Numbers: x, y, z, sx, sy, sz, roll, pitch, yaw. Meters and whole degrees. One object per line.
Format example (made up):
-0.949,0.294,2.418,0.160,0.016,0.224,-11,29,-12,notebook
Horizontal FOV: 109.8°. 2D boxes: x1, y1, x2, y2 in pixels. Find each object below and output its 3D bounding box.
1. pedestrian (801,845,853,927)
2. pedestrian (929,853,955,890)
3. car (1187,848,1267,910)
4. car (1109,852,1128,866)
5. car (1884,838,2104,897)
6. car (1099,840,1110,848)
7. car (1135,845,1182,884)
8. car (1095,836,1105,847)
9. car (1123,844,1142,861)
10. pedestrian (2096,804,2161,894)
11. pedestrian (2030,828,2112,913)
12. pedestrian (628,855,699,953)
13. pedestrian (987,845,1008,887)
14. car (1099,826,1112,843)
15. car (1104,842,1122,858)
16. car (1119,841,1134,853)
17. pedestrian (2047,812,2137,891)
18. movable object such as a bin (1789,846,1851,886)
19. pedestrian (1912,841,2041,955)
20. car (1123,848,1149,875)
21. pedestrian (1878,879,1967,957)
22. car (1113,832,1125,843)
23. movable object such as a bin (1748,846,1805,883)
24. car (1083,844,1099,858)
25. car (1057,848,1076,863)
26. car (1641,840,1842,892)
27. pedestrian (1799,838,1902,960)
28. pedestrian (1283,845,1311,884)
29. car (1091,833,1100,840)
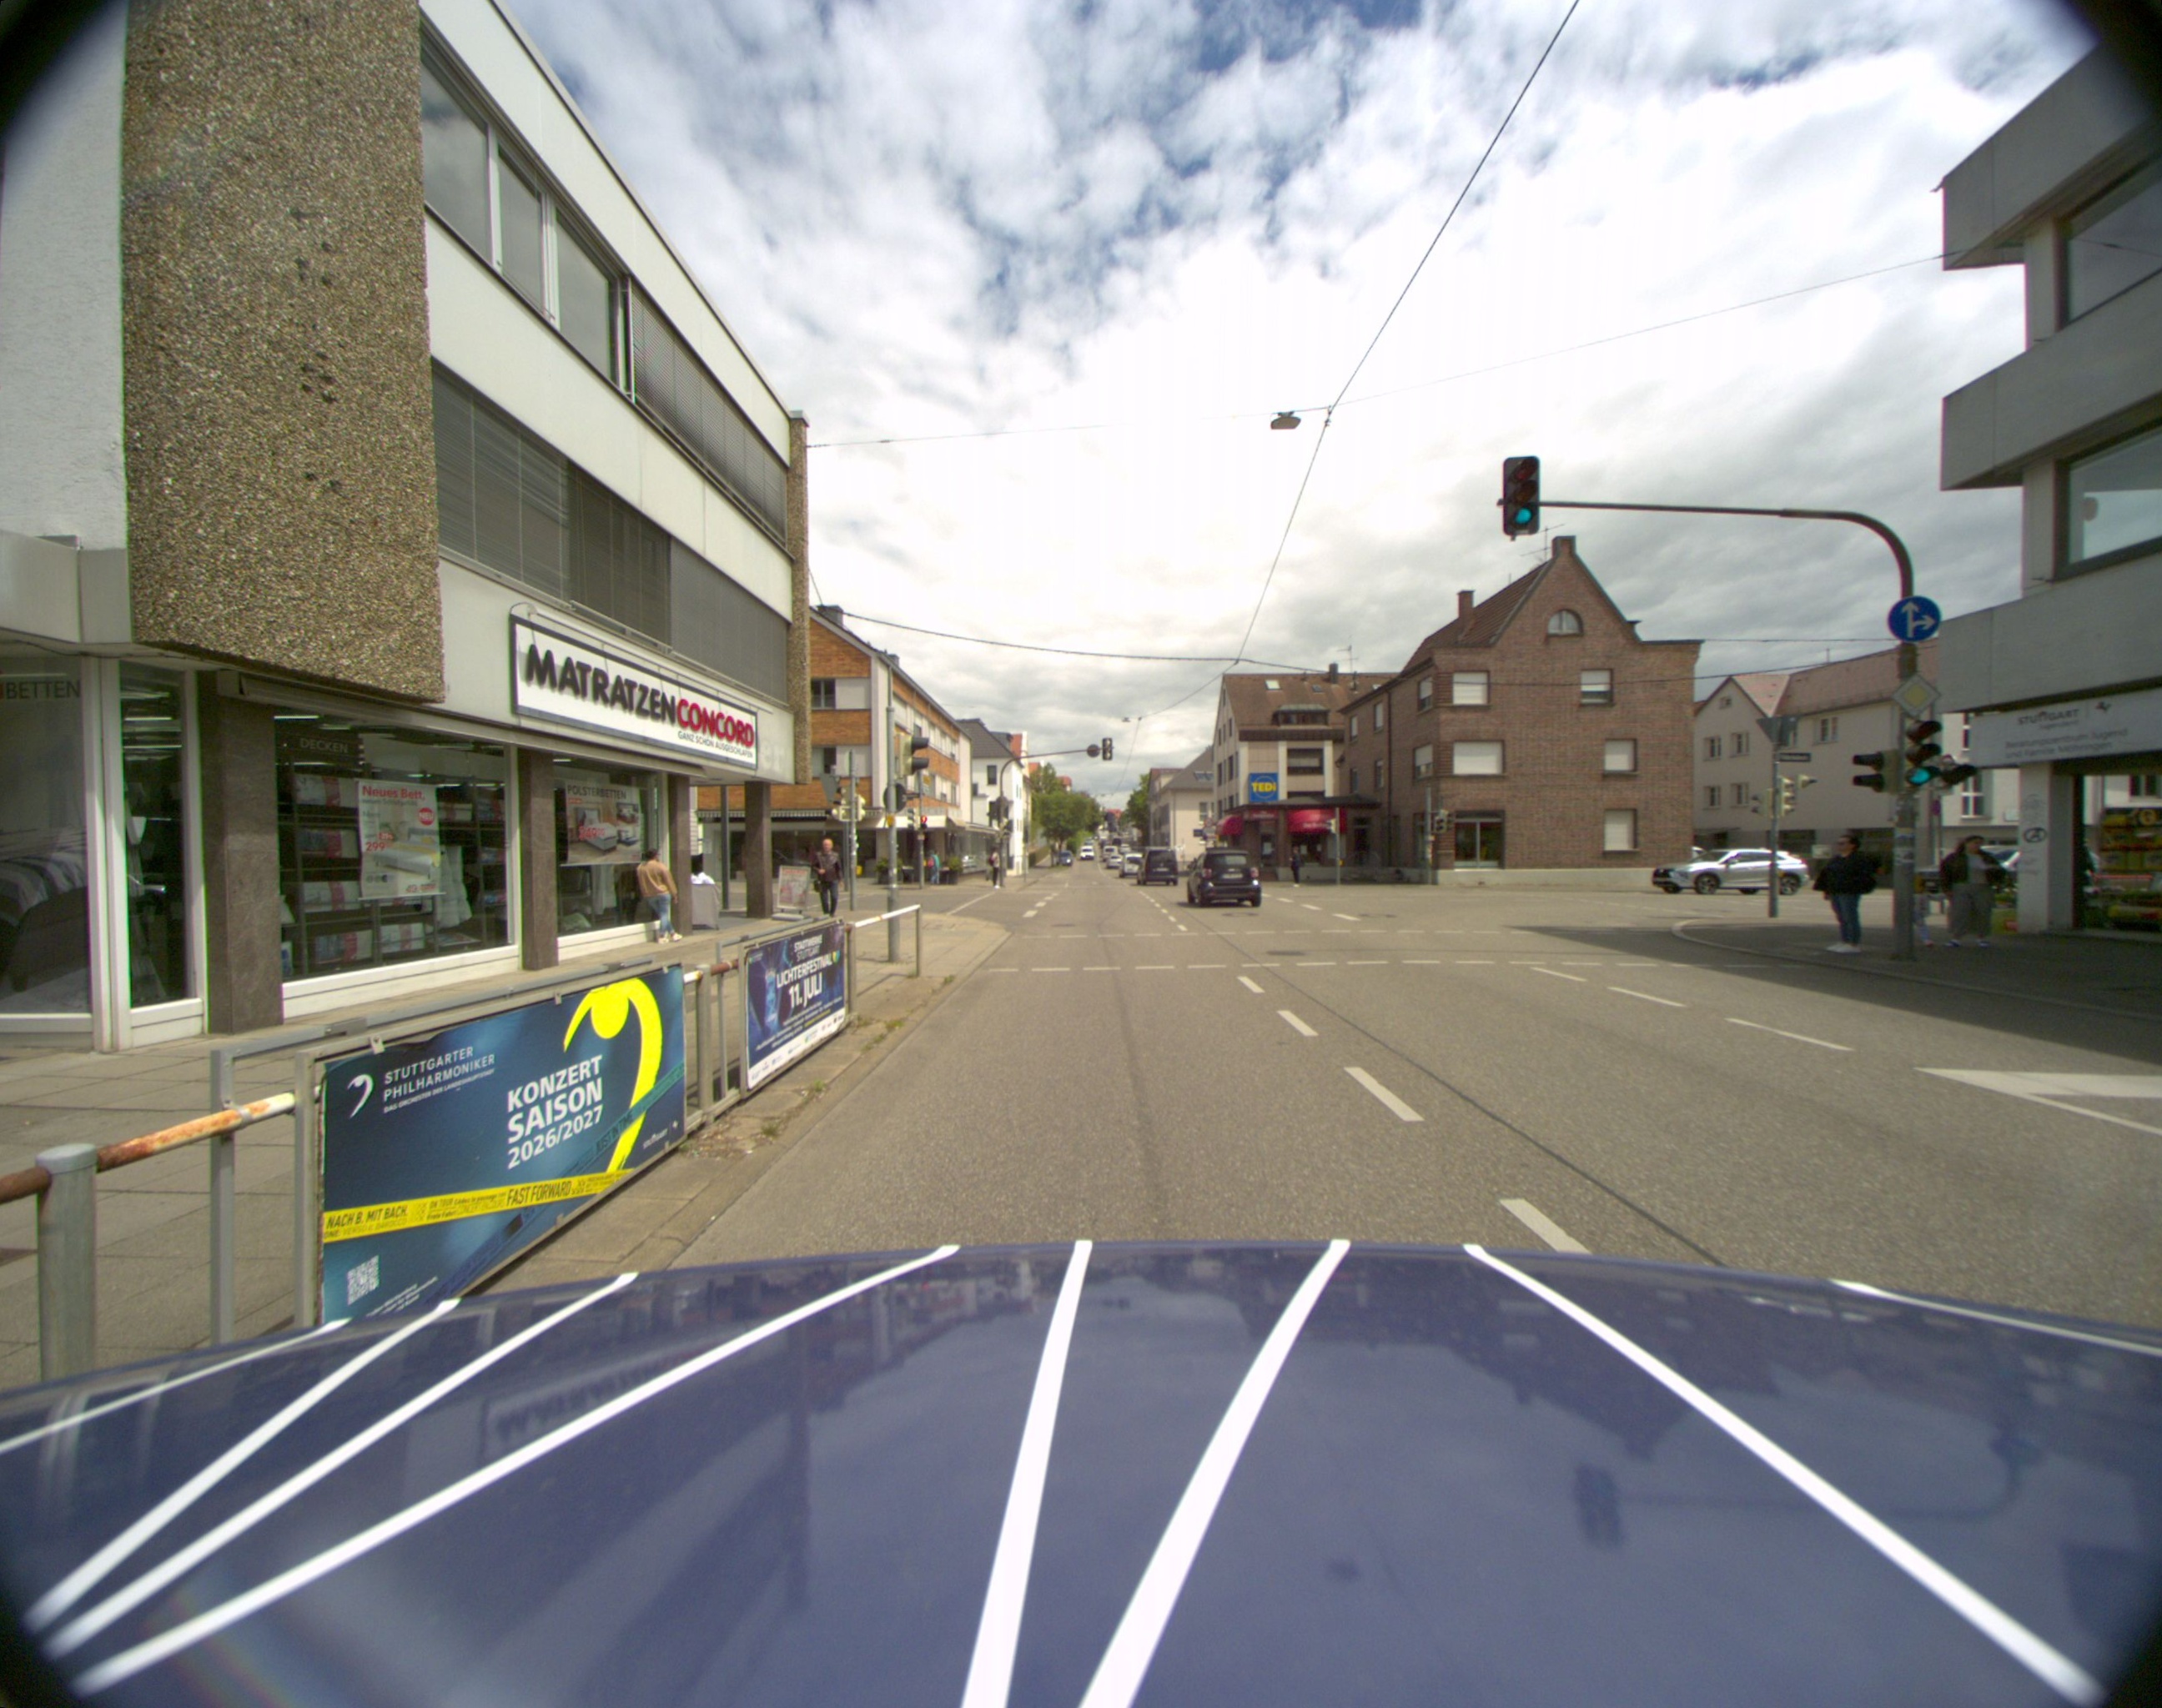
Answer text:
-5.261,0.642,15.775,0.797,1.661,0.807,0,1,1,pedestrian
-5.821,0.729,31.830,0.820,1.517,0.778,-1,1,-33,pedestrian
4.022,0.641,21.338,1.681,1.626,2.833,0,0,-1,car
3.954,0.493,79.872,1.757,1.478,3.970,0,0,-1,car
28.331,0.392,23.699,4.348,1.744,2.000,0,1,1,car
4.230,-1.788,135.937,1.858,1.414,4.192,0,0,-1,car
3.892,0.467,38.859,1.953,1.866,4.876,0,1,0,car
3.721,-2.454,149.533,1.858,1.957,4.192,0,0,-1,car
6.468,-0.239,96.573,2.110,2.109,4.765,-1,1,1,car
21.144,-0.107,15.199,0.846,1.729,0.820,-2,1,-23,pedestrian
20.931,0.332,16.076,0.846,1.729,0.820,-2,1,-19,pedestrian
-6.536,0.764,11.929,0.681,1.490,0.720,0,1,1,pedestrian
-3.670,0.508,33.426,0.581,1.820,0.882,1,1,17,pedestrian
5.332,-4.190,164.774,2.428,3.409,7.636,0,0,-1,car
4.047,-0.491,97.556,1.982,1.985,5.027,0,0,-1,car
6.904,-0.998,115.690,2.110,1.778,4.529,-1,0,1,car
21.929,-0.059,16.500,0.845,1.641,0.821,-2,1,-2,pedestrian
31.626,0.500,32.524,1.519,1.615,1.145,-2,1,4,movable object such as a bin
12.705,0.604,10.812,0.820,1.546,0.846,-2,1,7,pedestrian
4.171,0.545,57.996,1.819,1.919,4.112,0,0,1,car
12.113,0.913,10.957,0.560,1.051,0.662,-2,1,7,pedestrian
7.428,-3.163,148.461,2.110,2.109,4.765,-1,0,1,car
31.594,0.474,34.559,1.519,1.615,1.145,-2,1,4,movable object such as a bin
1.332,-0.451,102.678,1.999,1.797,4.764,1,0,-1,car
-1.669,0.136,86.539,1.998,1.654,4.000,0,0,1,car
23.422,0.418,27.127,5.254,1.758,2.001,0,0,4,car
10.694,0.607,10.587,0.719,1.635,0.682,-2,1,6,pedestrian
9.655,0.464,33.941,0.908,1.713,0.849,-1,1,-41,pedestrian
3.422,-4.165,179.320,1.998,1.654,4.000,0,0,1,car
